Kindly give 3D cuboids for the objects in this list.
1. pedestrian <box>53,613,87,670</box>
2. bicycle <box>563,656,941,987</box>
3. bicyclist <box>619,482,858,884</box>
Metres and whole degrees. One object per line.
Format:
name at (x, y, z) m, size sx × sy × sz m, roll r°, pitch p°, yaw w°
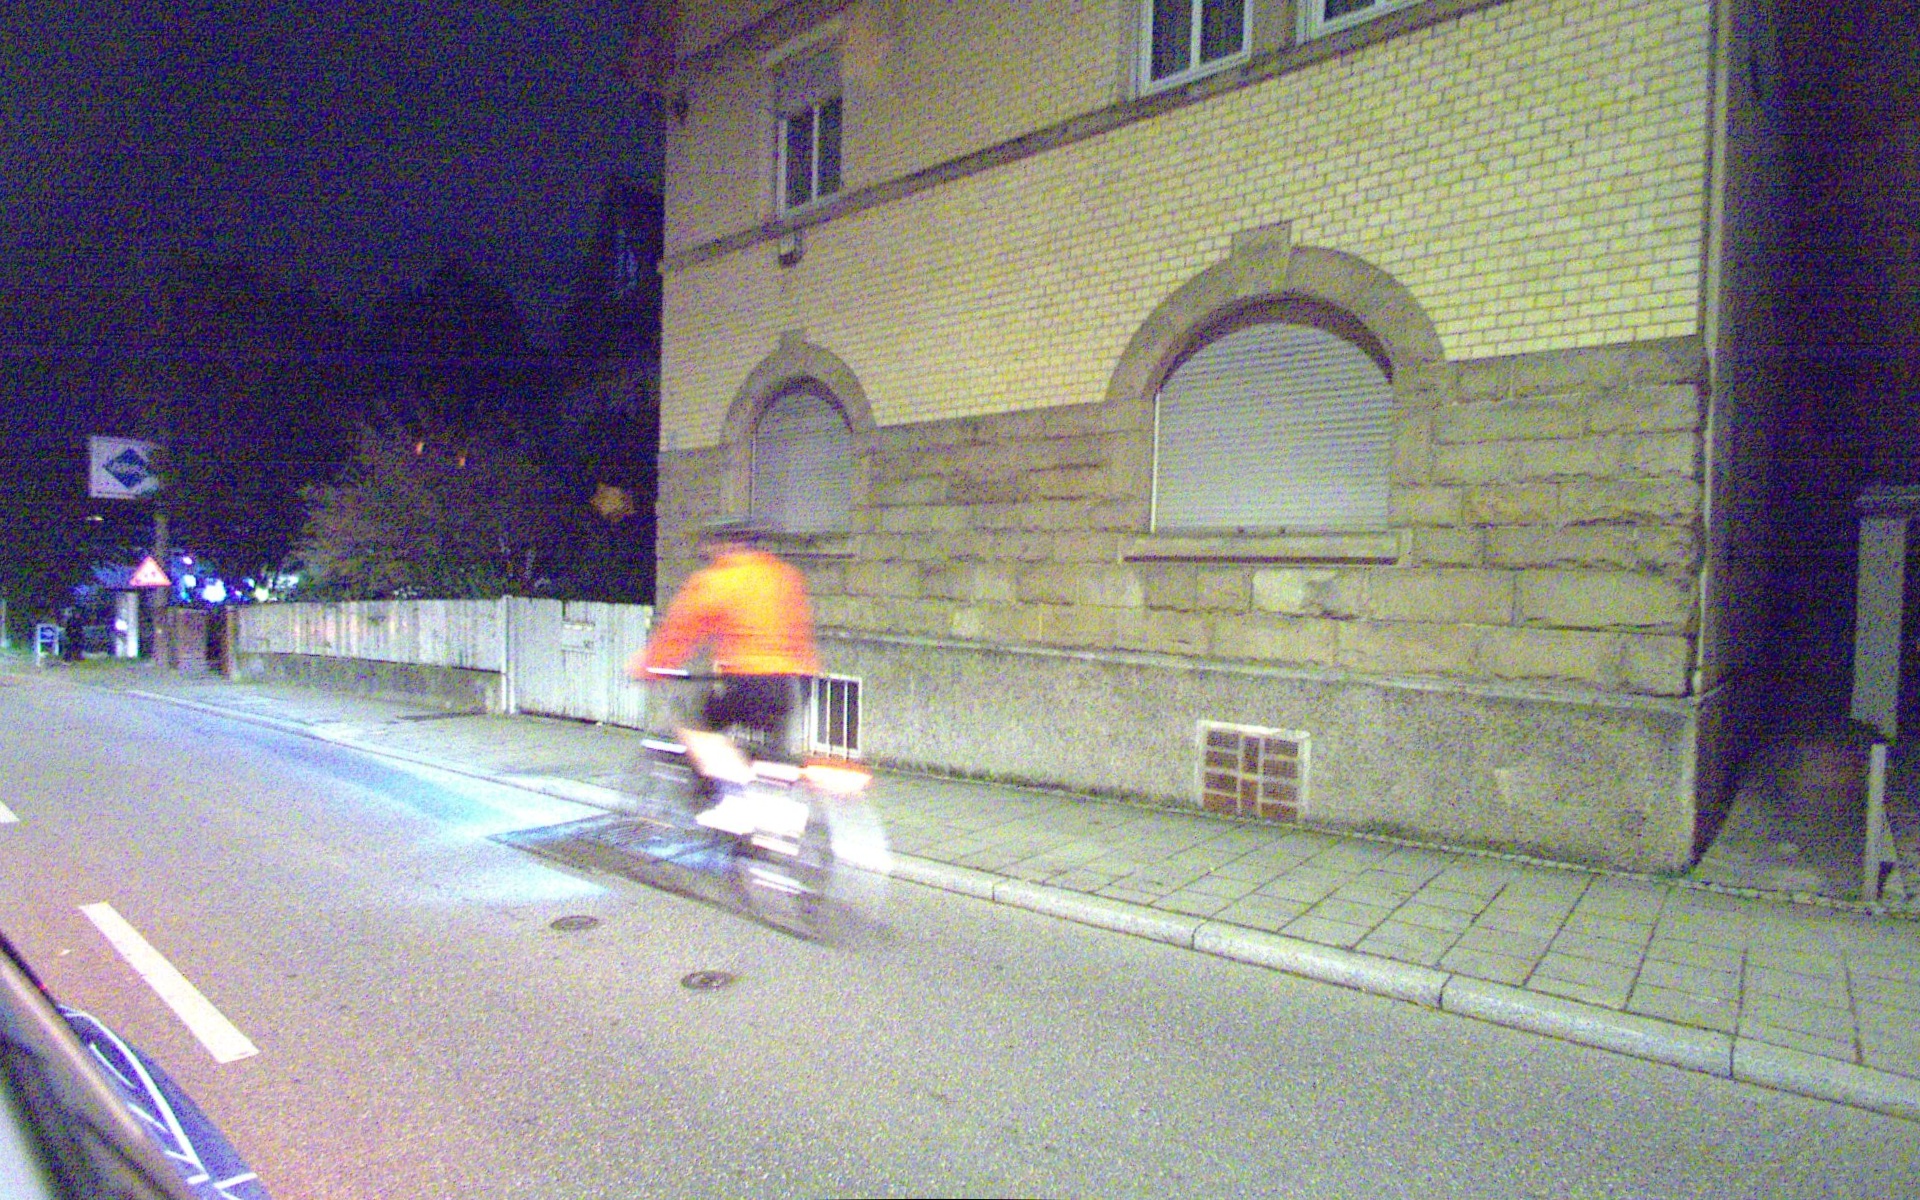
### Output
pedestrian at (-27.810, 1.281, 31.624) m, size 0.865 × 1.739 × 0.662 m, roll -1°, pitch -1°, yaw 38°
bicycle at (-1.040, 0.882, 4.714) m, size 1.950 × 1.157 × 0.689 m, roll -1°, pitch 0°, yaw 41°
bicyclist at (-1.036, 0.341, 4.710) m, size 0.896 × 1.649 × 0.683 m, roll -1°, pitch 0°, yaw 41°
